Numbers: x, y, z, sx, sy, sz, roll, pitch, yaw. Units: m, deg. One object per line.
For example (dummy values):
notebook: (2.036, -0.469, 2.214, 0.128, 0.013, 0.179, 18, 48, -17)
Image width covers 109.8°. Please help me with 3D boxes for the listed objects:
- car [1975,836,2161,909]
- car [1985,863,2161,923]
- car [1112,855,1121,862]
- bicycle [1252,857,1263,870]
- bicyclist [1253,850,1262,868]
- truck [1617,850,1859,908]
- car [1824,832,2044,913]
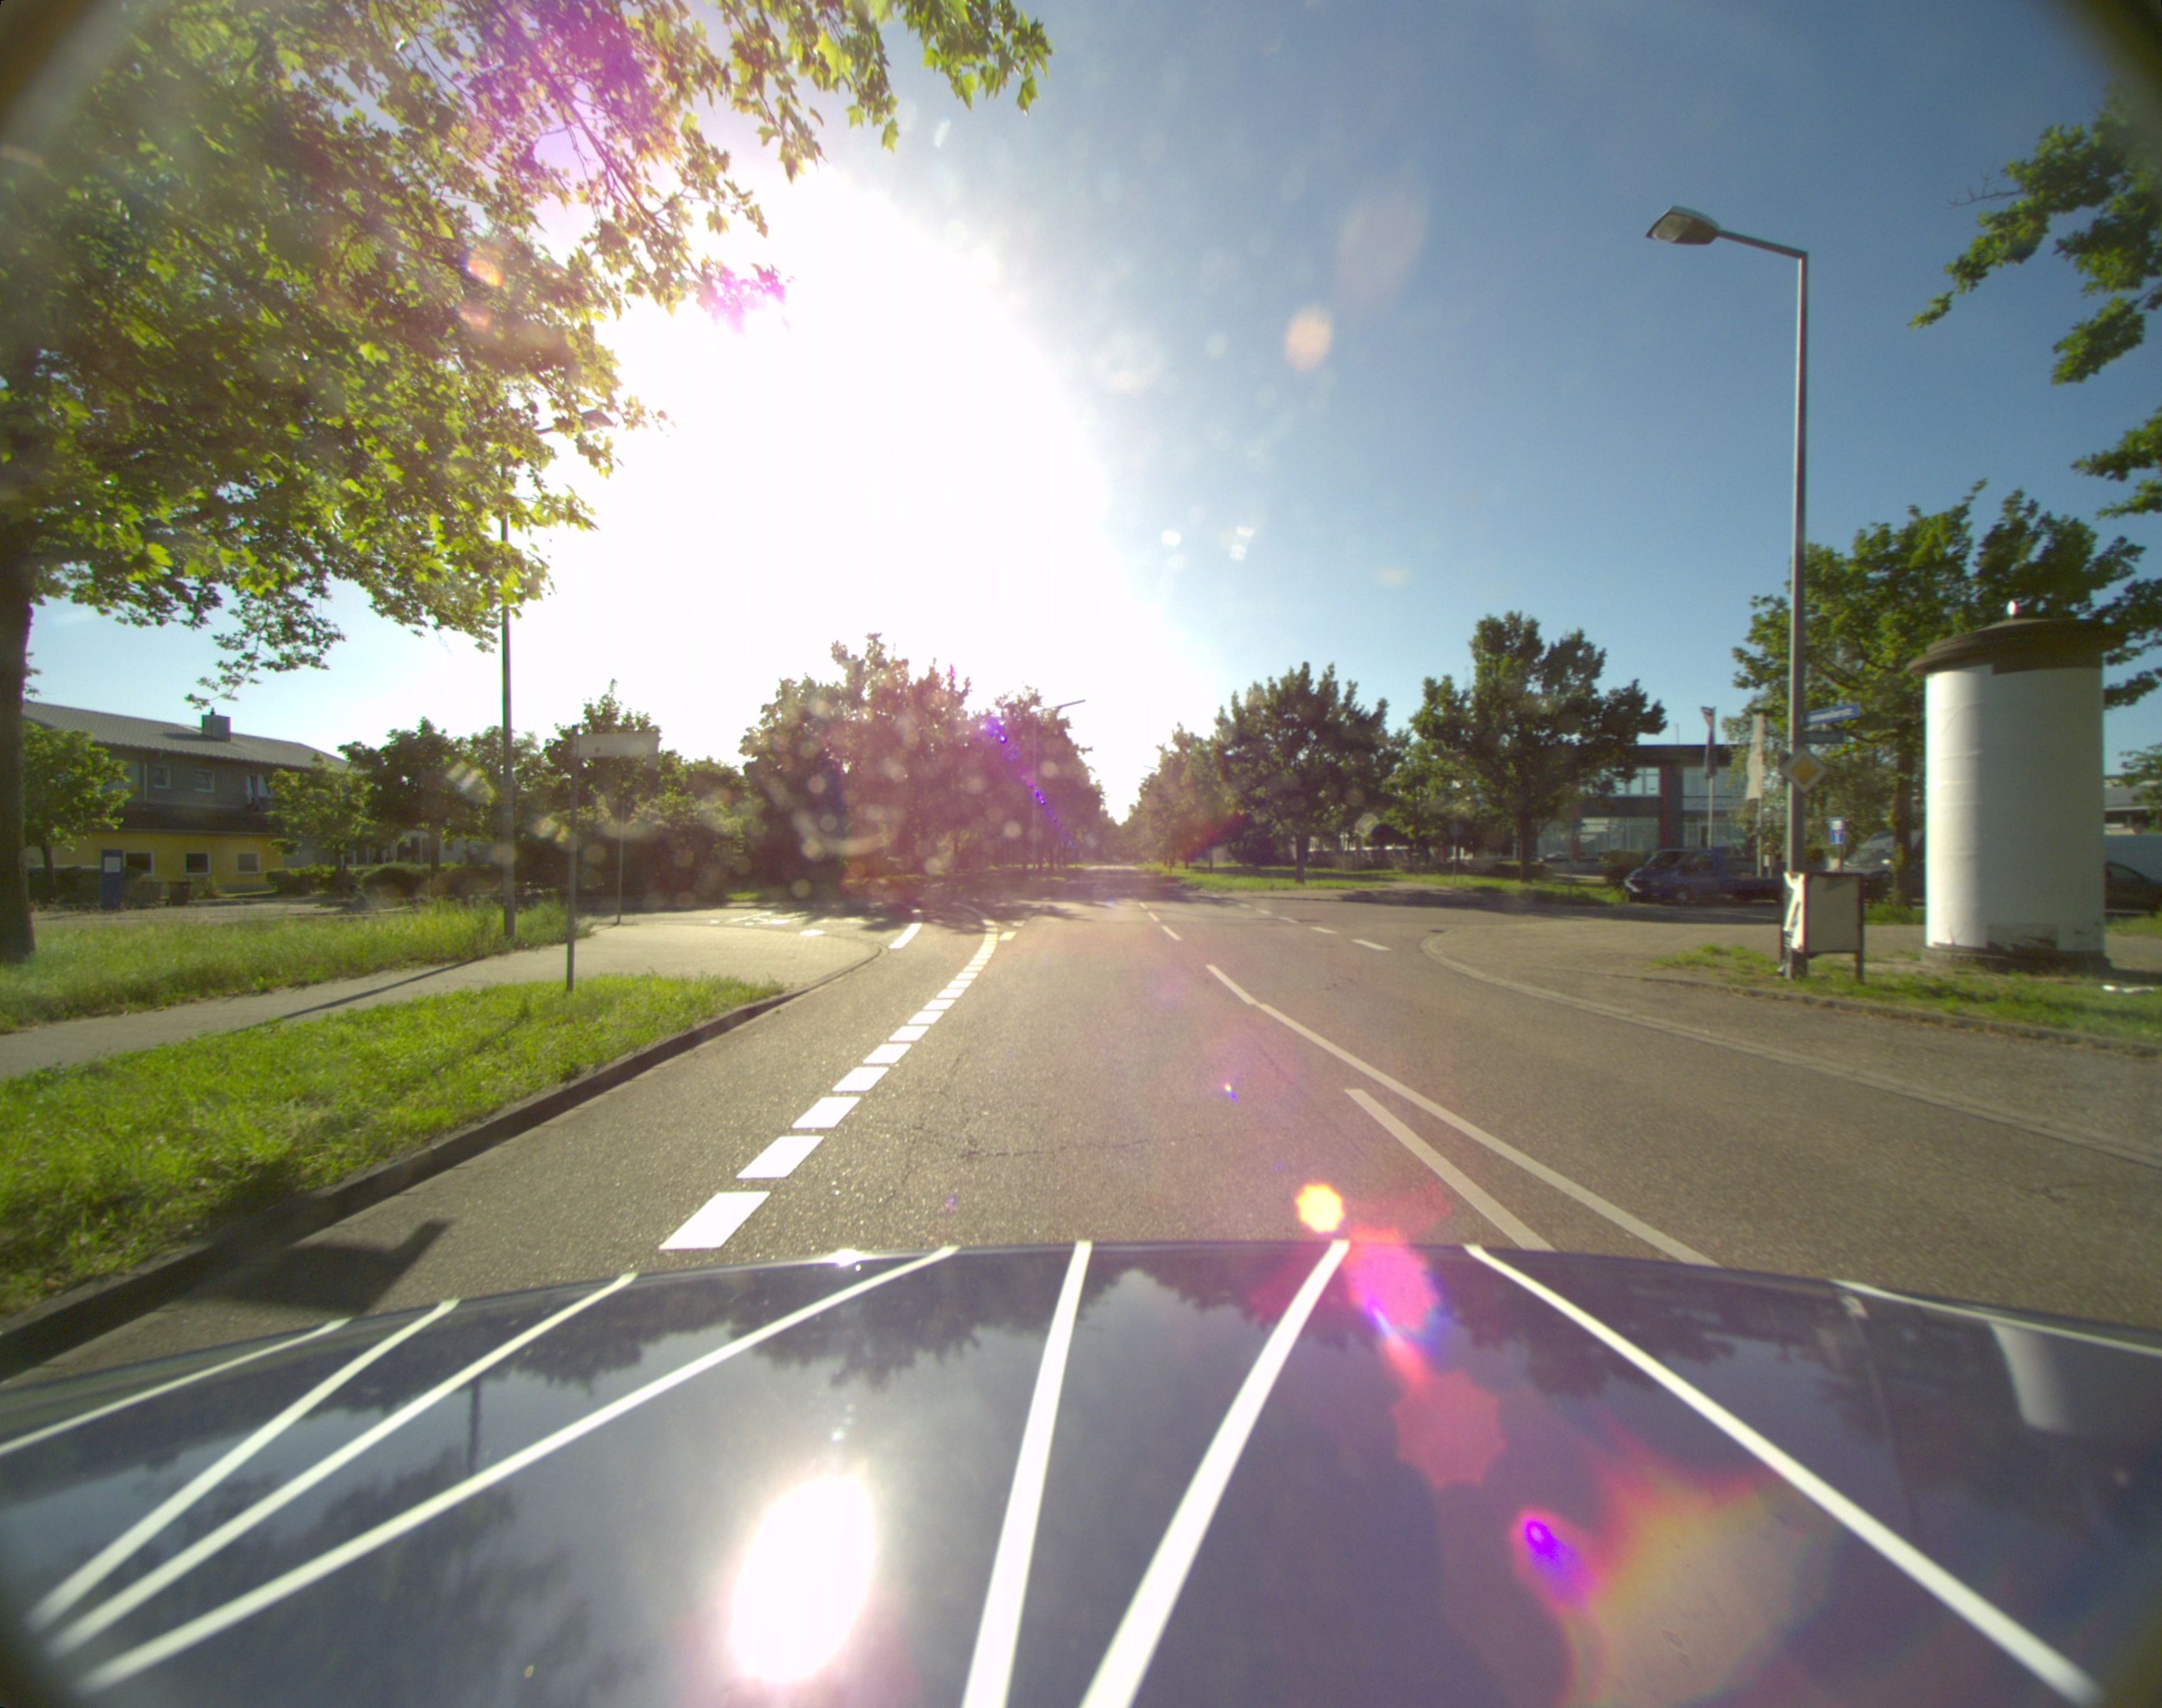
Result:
car: (38.600, 0.660, 29.151, 6.357, 2.501, 2.300, -2, 1, -4)
car: (29.527, 1.123, 22.128, 4.296, 1.586, 1.759, 1, 2, -1)
car: (8.417, 1.071, 182.137, 1.827, 1.477, 3.999, -2, 1, -1)
bicycle: (16.472, 0.846, 70.831, 0.552, 1.155, 2.334, -2, 1, 2)
bicyclist: (16.473, 0.452, 70.865, 0.665, 1.619, 0.659, -2, 1, 2)
truck: (23.938, 0.883, 27.847, 7.130, 2.038, 2.140, 0, 1, -2)
car: (31.214, 0.628, 27.920, 5.878, 2.687, 2.300, -2, 1, -4)
